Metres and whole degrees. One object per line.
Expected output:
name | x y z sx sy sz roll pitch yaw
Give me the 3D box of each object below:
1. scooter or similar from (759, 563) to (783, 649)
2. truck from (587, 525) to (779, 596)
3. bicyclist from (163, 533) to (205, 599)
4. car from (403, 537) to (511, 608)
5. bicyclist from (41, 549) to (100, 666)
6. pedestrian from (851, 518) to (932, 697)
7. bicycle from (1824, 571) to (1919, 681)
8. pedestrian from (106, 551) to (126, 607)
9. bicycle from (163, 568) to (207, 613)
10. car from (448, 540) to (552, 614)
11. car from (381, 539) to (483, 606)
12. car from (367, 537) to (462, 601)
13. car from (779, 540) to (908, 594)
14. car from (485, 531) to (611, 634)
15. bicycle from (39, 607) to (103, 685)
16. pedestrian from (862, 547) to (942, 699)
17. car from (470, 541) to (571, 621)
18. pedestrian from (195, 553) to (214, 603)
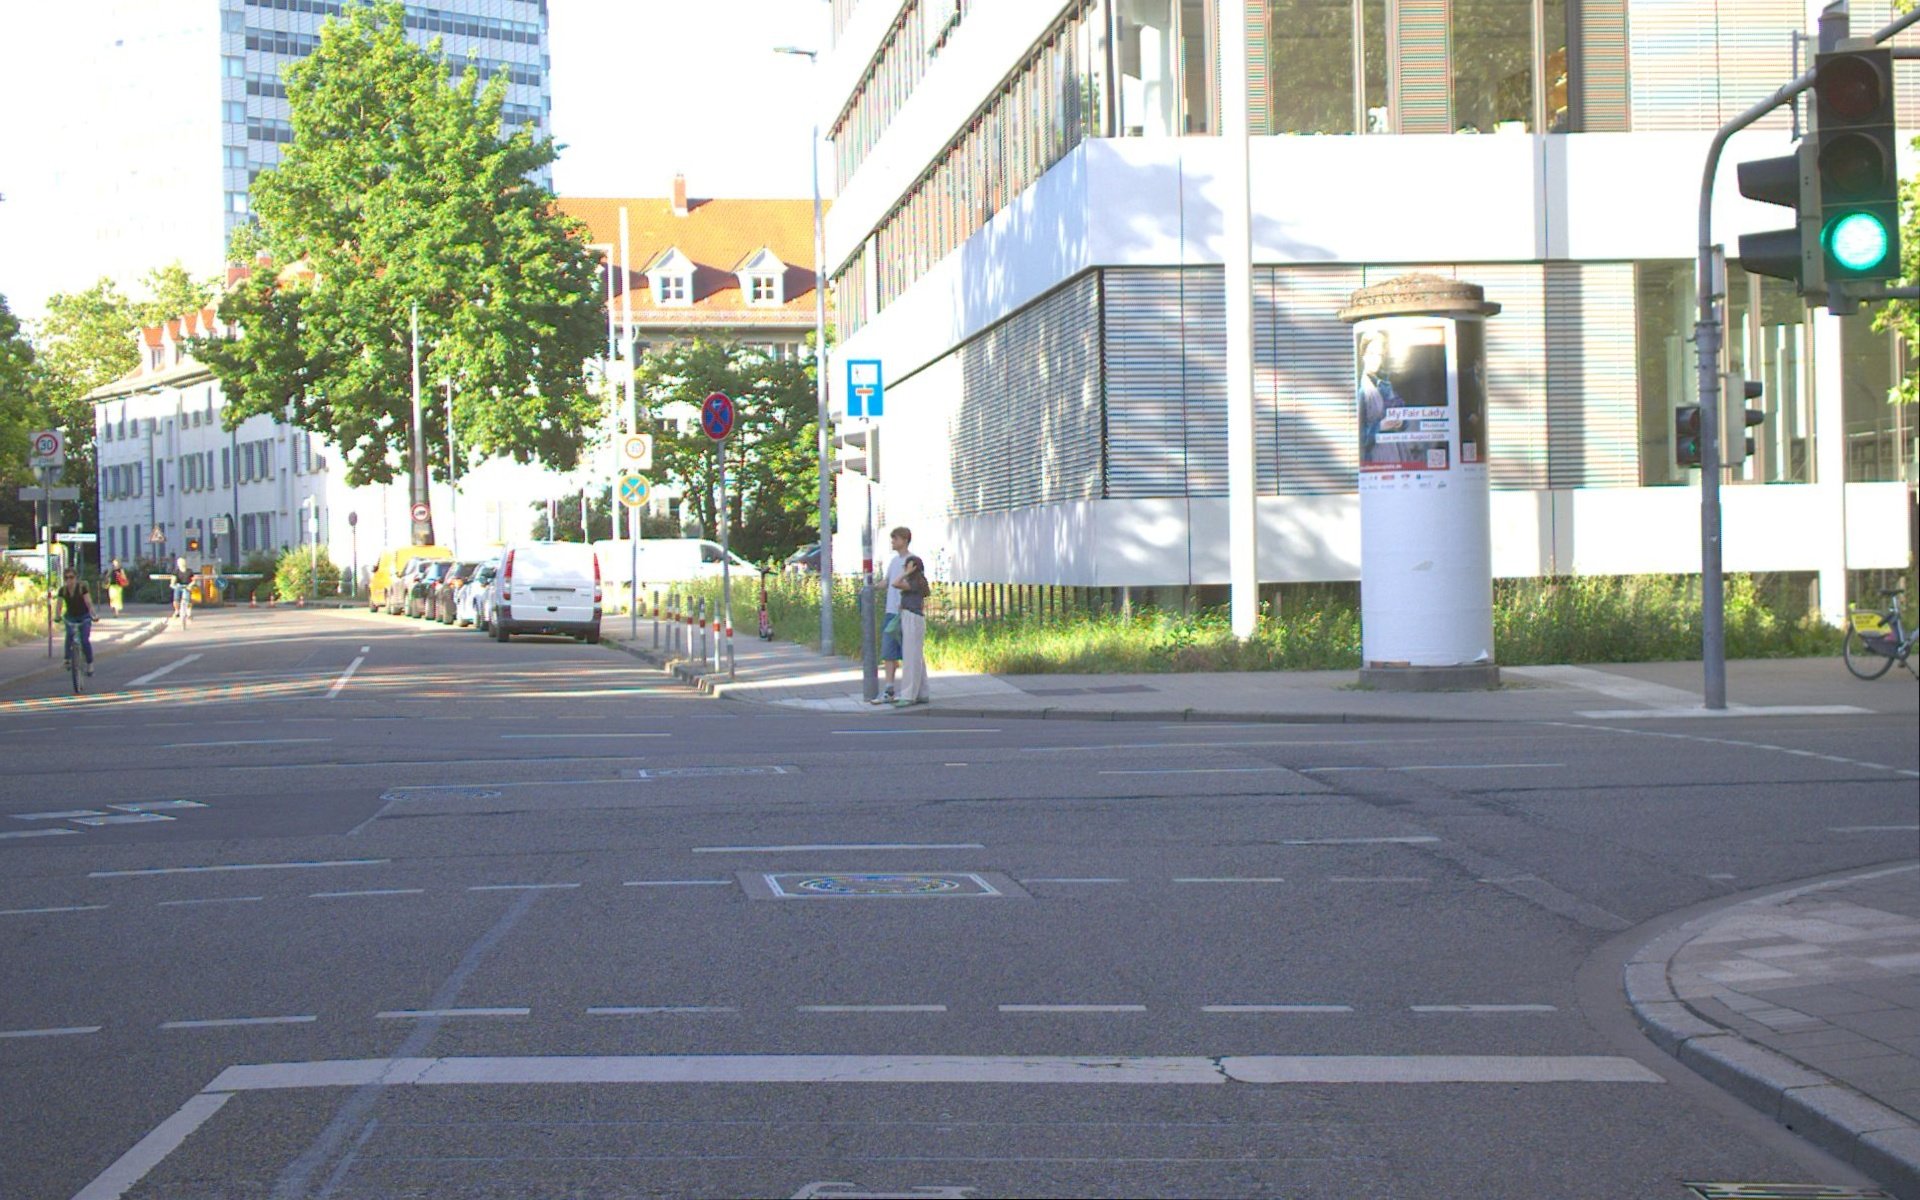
scooter or similar | -3.164 0.102 57.431 0.330 1.419 1.335 1 0 -6
truck | -8.226 -1.177 101.955 5.336 2.007 2.001 -1 1 -19
bicyclist | -18.542 -0.819 82.159 0.865 1.510 1.019 -4 1 -11
car | -12.386 -0.700 84.492 1.888 1.650 4.416 -1 2 -18
bicyclist | -11.787 0.091 45.580 0.615 1.527 0.903 -2 1 -9
pedestrian | -0.726 0.071 36.649 0.560 1.844 0.677 -4 2 16
bicycle | 9.577 0.263 34.804 0.507 1.046 1.687 -3 4 -35
pedestrian | -24.499 -0.610 99.817 0.433 1.602 0.493 -2 1 -26
bicycle | -18.513 -0.238 82.150 0.865 1.006 2.415 -4 1 -11
car | -10.354 -0.537 77.229 1.888 1.550 4.417 -1 2 -13
car | -13.780 -0.742 89.522 1.888 1.650 4.416 -1 2 -18
car | -15.011 -0.870 94.447 1.888 1.650 4.416 -1 2 -18
car | -3.502 -0.997 103.108 3.554 1.541 1.559 -1 1 -19
car | -7.656 -0.359 63.570 2.084 1.789 4.416 -1 2 -10
bicycle | -11.777 0.603 45.589 0.615 0.966 1.842 -2 1 -9
pedestrian | -0.614 0.238 36.044 0.559 1.535 0.677 -5 2 -18
car | -9.219 -0.429 71.850 1.888 1.550 4.416 -1 2 -10
pedestrian | -25.216 -0.734 114.741 0.545 1.671 0.476 -2 1 -17
